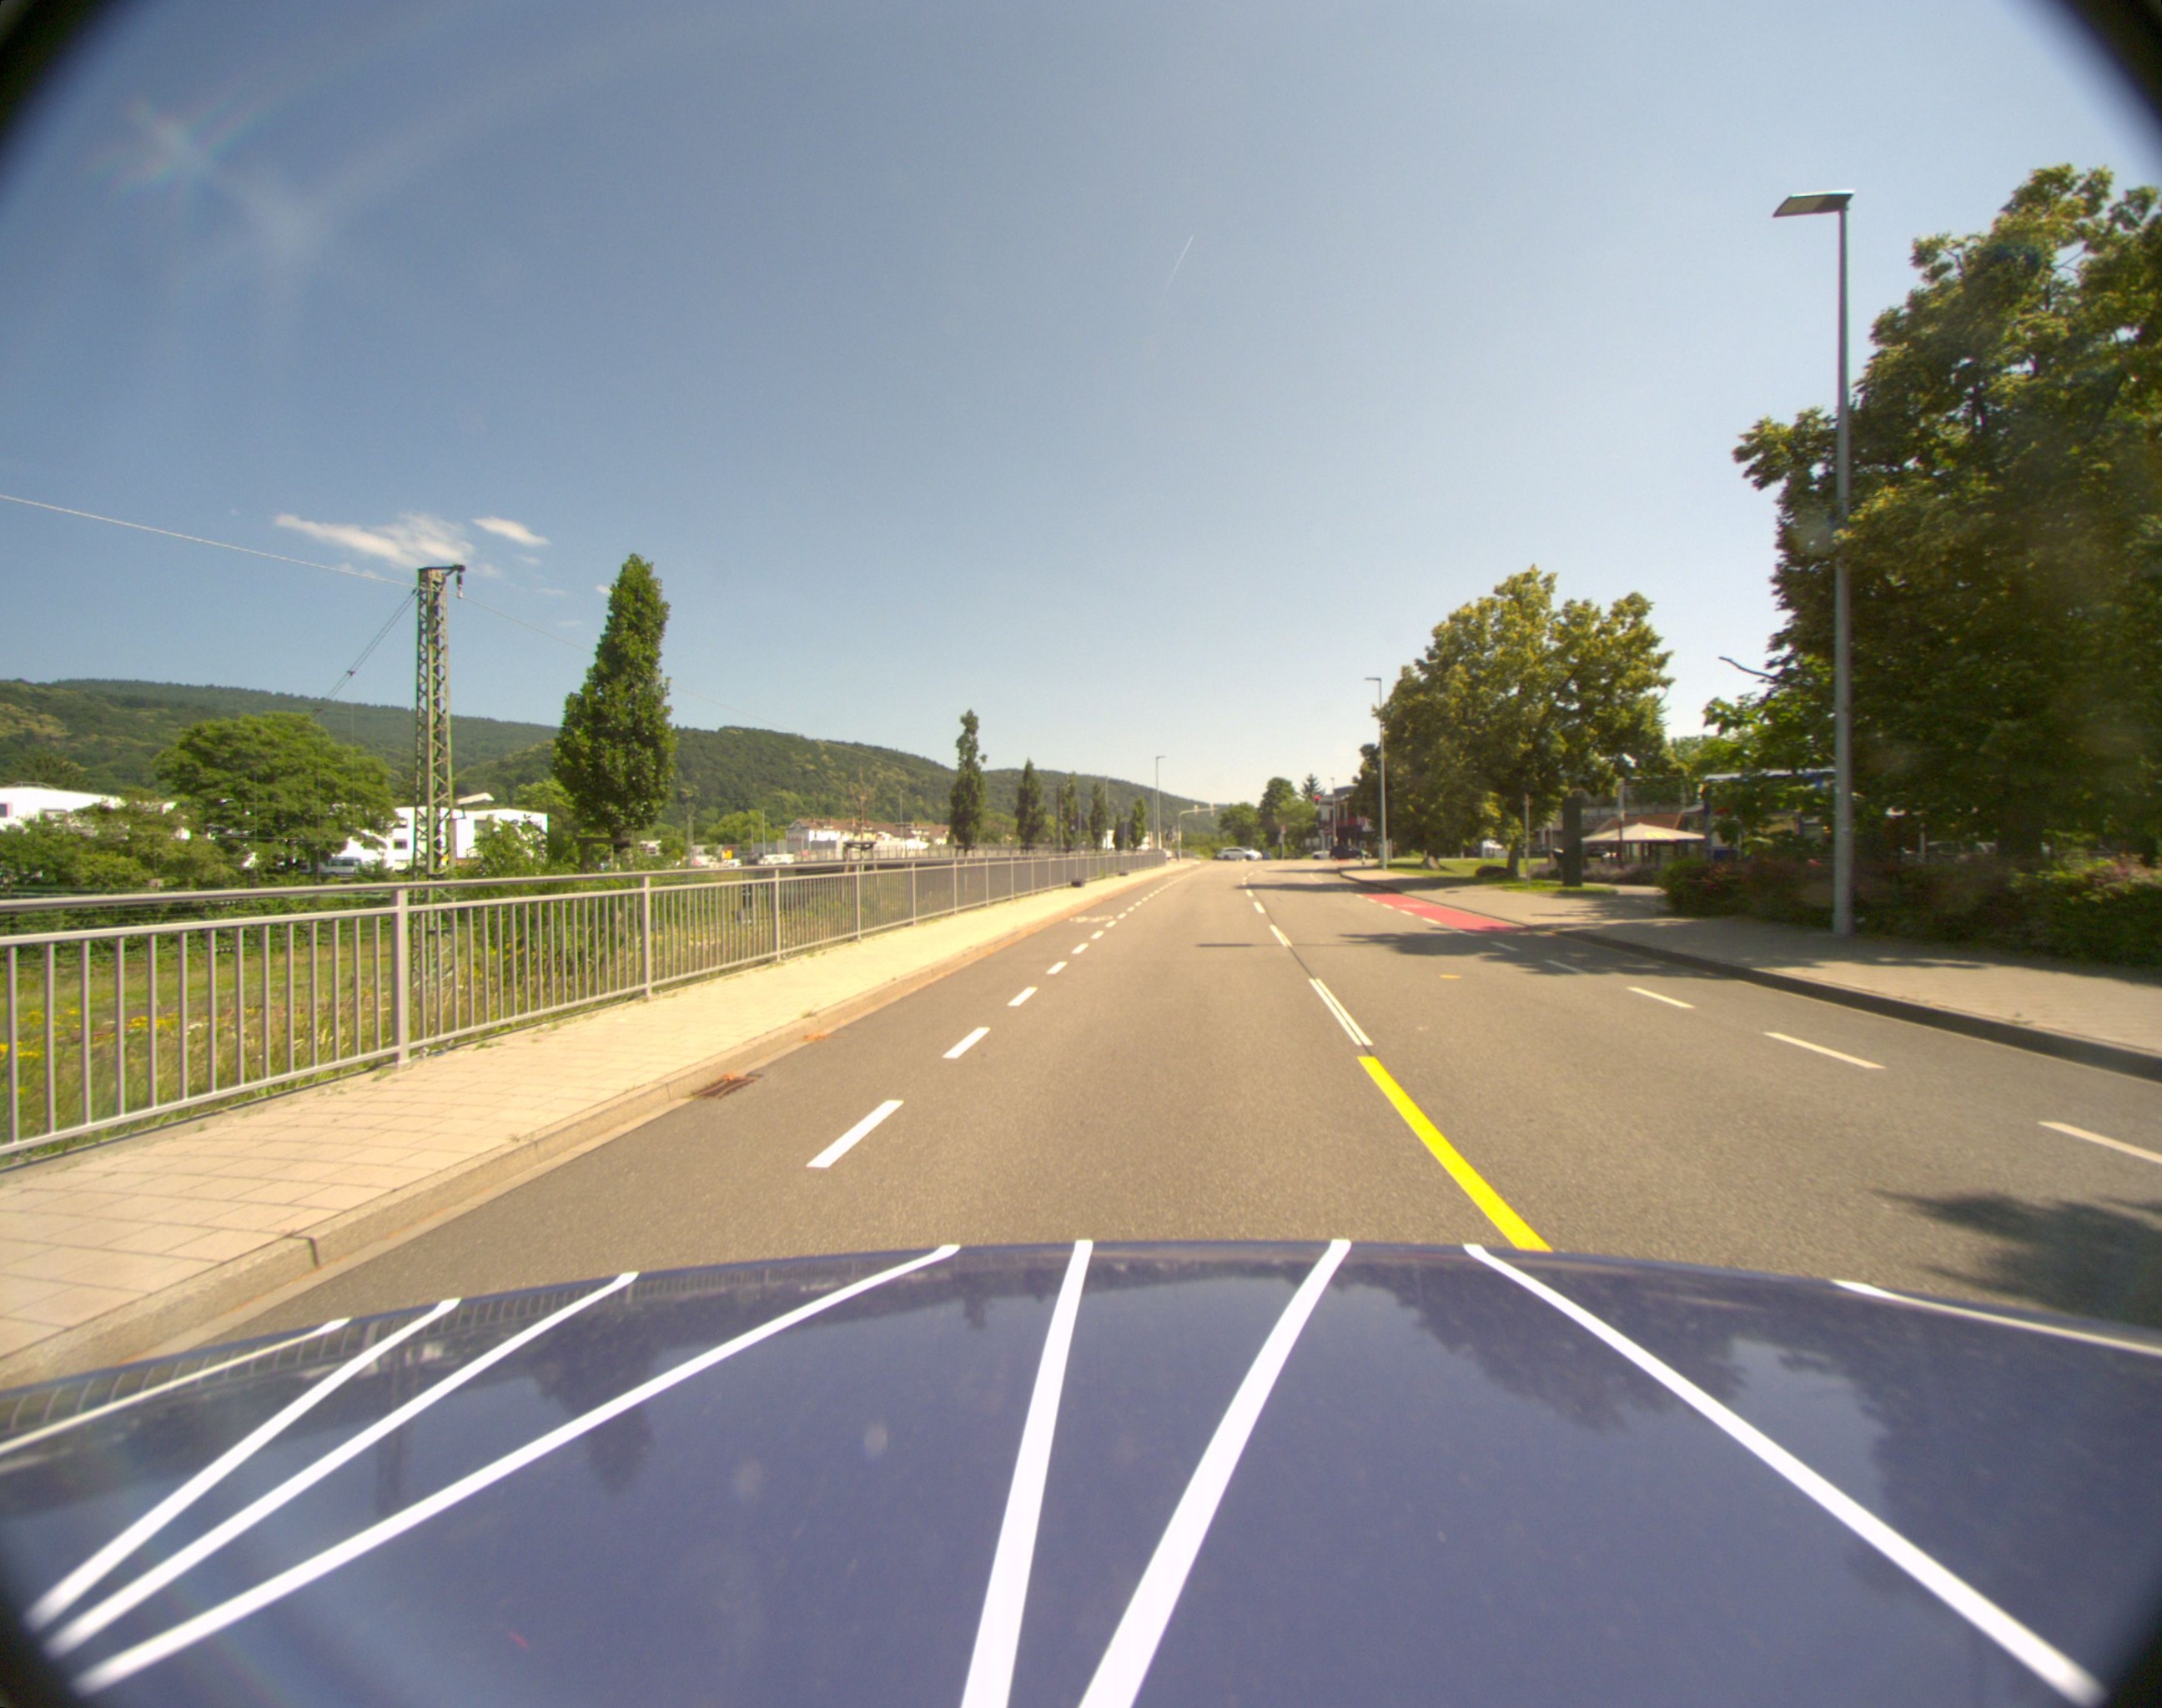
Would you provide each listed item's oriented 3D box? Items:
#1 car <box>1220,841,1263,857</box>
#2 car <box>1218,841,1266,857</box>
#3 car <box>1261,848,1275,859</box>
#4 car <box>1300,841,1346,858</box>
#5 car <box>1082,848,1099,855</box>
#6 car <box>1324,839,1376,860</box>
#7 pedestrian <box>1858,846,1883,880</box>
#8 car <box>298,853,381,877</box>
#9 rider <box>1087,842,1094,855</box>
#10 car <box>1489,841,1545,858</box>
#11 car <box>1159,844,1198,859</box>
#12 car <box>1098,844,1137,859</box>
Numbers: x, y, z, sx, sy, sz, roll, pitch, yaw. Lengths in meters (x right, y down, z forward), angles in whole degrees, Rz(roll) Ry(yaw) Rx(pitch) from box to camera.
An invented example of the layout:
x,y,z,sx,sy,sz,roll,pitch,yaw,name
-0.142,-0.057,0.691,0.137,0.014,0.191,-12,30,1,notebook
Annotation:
x,y,z,sx,sy,sz,roll,pitch,yaw,name
18.471,-0.593,87.405,4.358,1.618,1.834,-1,4,37,car
17.483,-0.523,82.421,4.754,1.643,1.834,0,4,41,car
26.593,-0.080,108.119,1.608,1.527,3.684,-1,1,8,car
26.047,-0.496,81.876,4.358,1.618,1.834,-1,4,37,car
1.345,-0.292,103.569,2.376,0.897,0.577,-1,4,37,car
26.453,-0.420,74.791,4.358,1.839,1.834,0,4,39,car
30.355,0.340,29.224,0.551,1.203,0.593,-6,0,43,pedestrian
-76.076,1.096,78.055,2.131,2.090,5.525,-6,0,20,car
1.309,-0.738,103.555,0.684,1.804,0.549,0,4,37,rider
40.646,-0.409,70.907,4.358,1.339,1.834,-1,4,37,car
11.889,-0.279,92.966,4.358,1.618,1.834,-1,4,37,car
4.455,-0.318,93.107,4.568,1.643,1.834,0,4,40,car
